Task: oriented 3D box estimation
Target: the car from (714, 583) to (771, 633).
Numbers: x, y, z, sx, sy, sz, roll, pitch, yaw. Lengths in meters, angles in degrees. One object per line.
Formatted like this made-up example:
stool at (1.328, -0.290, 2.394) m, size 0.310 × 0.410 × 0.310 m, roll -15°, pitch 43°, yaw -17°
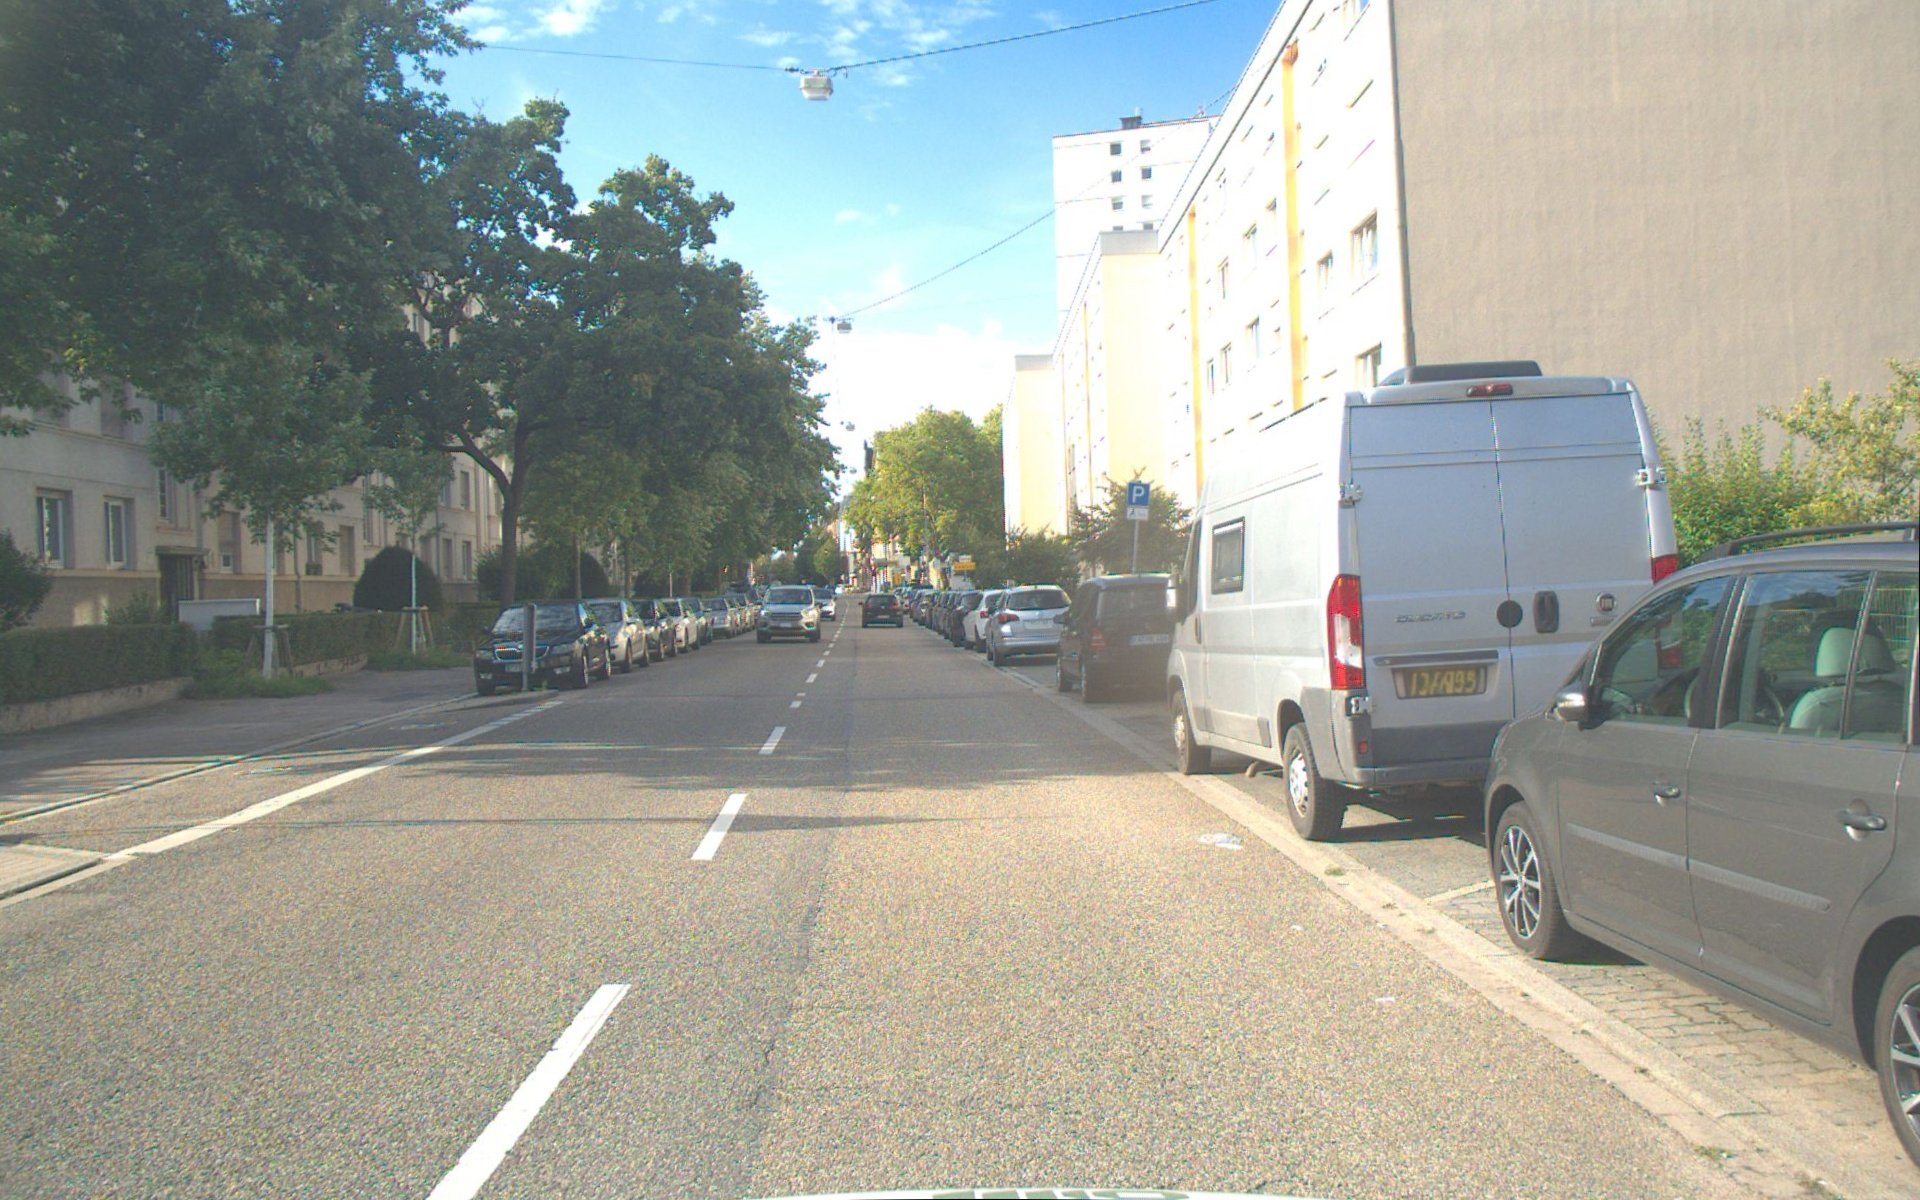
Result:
car at (-9.730, 0.338, 74.238) m, size 1.953 × 2.048 × 3.999 m, roll -3°, pitch 0°, yaw -1°

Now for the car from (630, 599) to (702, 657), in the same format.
car at (-7.762, 0.713, 43.902) m, size 1.606 × 1.414 × 3.429 m, roll -3°, pitch 0°, yaw -6°

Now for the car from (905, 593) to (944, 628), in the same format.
car at (-1.898, 0.540, 88.823) m, size 1.953 × 1.713 × 3.999 m, roll -3°, pitch 0°, yaw -1°

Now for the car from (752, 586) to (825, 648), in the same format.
car at (-5.162, 0.480, 49.652) m, size 2.016 × 1.692 × 3.921 m, roll -3°, pitch 0°, yaw -6°

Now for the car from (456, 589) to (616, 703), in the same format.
car at (-6.990, 0.704, 27.657) m, size 1.955 × 1.668 × 3.995 m, roll -3°, pitch 0°, yaw -6°

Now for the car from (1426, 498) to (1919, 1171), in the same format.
car at (3.227, 0.524, 5.315) m, size 1.954 × 1.644 × 4.405 m, roll -3°, pitch 0°, yaw -3°

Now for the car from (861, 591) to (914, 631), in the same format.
car at (-3.119, 0.450, 70.201) m, size 1.955 × 1.598 × 3.994 m, roll -1°, pitch 0°, yaw -7°

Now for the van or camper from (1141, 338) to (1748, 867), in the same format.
van or camper at (2.838, -0.009, 11.315) m, size 2.166 × 2.652 × 5.367 m, roll -3°, pitch 0°, yaw -4°

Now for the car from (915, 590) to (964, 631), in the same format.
car at (-0.874, 0.430, 70.381) m, size 1.953 × 1.601 × 3.999 m, roll -3°, pitch 0°, yaw -1°

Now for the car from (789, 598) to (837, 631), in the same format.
car at (-7.319, 0.701, 82.131) m, size 1.958 × 1.598 × 3.989 m, roll -1°, pitch 0°, yaw -11°

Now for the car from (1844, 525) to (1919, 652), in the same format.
car at (14.123, -0.251, 21.728) m, size 3.903 × 1.612 × 2.001 m, roll -3°, pitch 0°, yaw 5°

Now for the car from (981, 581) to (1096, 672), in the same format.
car at (1.484, 0.479, 32.686) m, size 1.953 × 1.601 × 3.999 m, roll -3°, pitch 0°, yaw -1°

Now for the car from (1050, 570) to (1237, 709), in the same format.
car at (2.355, 0.471, 22.231) m, size 1.953 × 1.601 × 3.999 m, roll -3°, pitch 0°, yaw -1°

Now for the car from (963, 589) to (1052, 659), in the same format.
car at (1.120, 0.547, 40.600) m, size 1.953 × 1.556 × 3.999 m, roll -3°, pitch 0°, yaw -1°

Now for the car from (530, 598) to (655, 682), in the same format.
car at (-7.265, 0.746, 33.021) m, size 1.955 × 1.476 × 3.899 m, roll -3°, pitch 0°, yaw -6°

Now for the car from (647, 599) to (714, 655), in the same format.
car at (-8.638, 0.815, 51.290) m, size 1.772 × 1.588 × 3.429 m, roll -3°, pitch 0°, yaw -6°

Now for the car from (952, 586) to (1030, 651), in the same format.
car at (0.800, 0.478, 45.221) m, size 1.953 × 1.601 × 3.999 m, roll -3°, pitch 0°, yaw -1°

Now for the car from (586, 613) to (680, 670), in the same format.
car at (-7.556, 0.924, 38.487) m, size 1.772 × 1.135 × 3.586 m, roll -3°, pitch 0°, yaw -6°

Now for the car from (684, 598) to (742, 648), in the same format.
car at (-8.556, 0.767, 57.519) m, size 1.772 × 1.588 × 3.429 m, roll -3°, pitch 0°, yaw -6°
